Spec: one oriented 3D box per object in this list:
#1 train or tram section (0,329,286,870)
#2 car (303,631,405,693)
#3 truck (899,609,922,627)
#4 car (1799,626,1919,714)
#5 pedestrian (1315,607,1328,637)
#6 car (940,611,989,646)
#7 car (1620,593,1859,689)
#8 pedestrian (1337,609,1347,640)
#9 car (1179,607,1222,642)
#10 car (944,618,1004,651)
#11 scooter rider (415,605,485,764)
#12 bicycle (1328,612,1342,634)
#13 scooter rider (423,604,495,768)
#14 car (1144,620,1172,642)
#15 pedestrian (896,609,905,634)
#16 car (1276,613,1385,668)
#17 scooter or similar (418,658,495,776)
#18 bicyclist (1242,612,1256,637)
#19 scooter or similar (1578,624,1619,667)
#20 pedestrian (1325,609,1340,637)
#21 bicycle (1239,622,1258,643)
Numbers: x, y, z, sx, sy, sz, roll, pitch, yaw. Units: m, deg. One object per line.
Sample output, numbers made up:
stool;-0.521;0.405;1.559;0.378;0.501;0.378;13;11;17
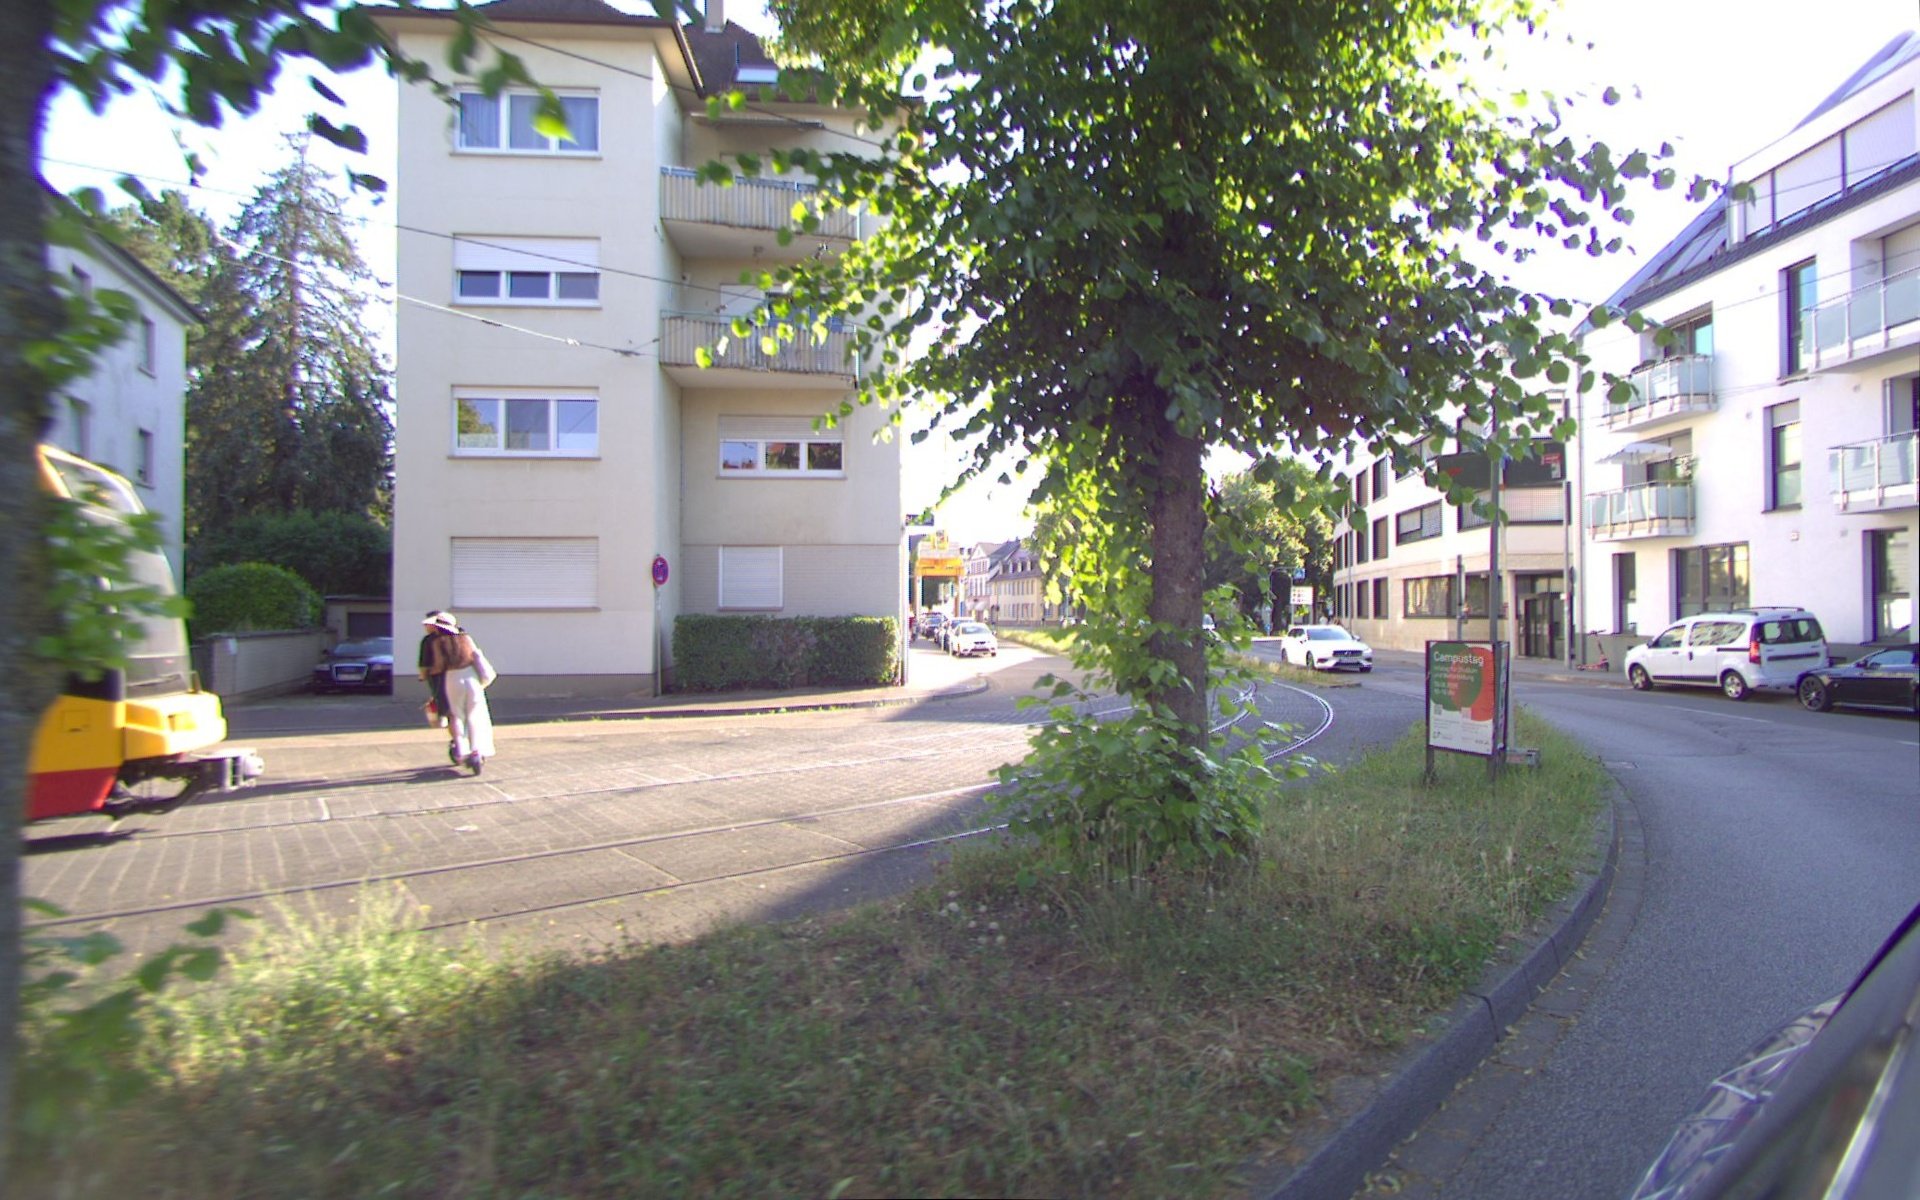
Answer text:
train or tram section;-10.318;-0.018;6.407;9.714;3.601;2.789;0;-1;-25
car;-15.013;1.477;25.254;1.554;1.371;3.903;-1;-1;-22
truck;-4.679;1.674;95.407;1.960;1.606;4.100;1;-1;-5
car;16.345;1.160;16.807;1.640;1.289;4.021;-2;0;4
pedestrian;22.612;1.359;63.313;0.597;1.872;0.990;-1;-1;9
car;0.155;1.379;50.308;1.960;1.592;4.646;1;0;-5
car;16.809;0.831;22.159;1.782;1.893;4.332;0;-1;-1
pedestrian;21.007;1.357;55.629;0.469;1.669;0.598;-2;-2;19
car;13.912;1.420;58.829;1.966;1.878;4.890;0;-1;8
car;0.569;1.500;45.054;1.959;1.404;4.451;1;-1;-8
scooter rider;-5.625;0.903;11.177;0.641;1.694;0.609;1;-1;-27
bicycle;20.625;1.280;55.704;0.435;1.194;1.959;-1;-2;12
scooter rider;-5.391;0.895;10.894;0.641;1.694;0.609;1;-1;-27
car;15.401;2.390;78.933;1.685;1.637;3.995;0;-1;4
pedestrian;-3.529;1.280;60.001;0.515;1.459;0.461;0;-1;-4
car;11.701;1.227;32.349;1.821;1.482;4.769;-3;0;2
scooter or similar;-5.525;1.245;11.164;0.671;1.151;1.409;1;-1;-24
bicyclist;16.567;1.389;57.990;0.613;1.397;0.800;1;-1;2
scooter or similar;18.738;1.329;29.702;0.220;1.236;1.156;-1;-2;-12
pedestrian;23.258;1.427;63.205;0.693;1.736;0.840;-1;-1;9
bicycle;16.566;1.857;58.084;0.613;1.095;1.782;1;0;2
